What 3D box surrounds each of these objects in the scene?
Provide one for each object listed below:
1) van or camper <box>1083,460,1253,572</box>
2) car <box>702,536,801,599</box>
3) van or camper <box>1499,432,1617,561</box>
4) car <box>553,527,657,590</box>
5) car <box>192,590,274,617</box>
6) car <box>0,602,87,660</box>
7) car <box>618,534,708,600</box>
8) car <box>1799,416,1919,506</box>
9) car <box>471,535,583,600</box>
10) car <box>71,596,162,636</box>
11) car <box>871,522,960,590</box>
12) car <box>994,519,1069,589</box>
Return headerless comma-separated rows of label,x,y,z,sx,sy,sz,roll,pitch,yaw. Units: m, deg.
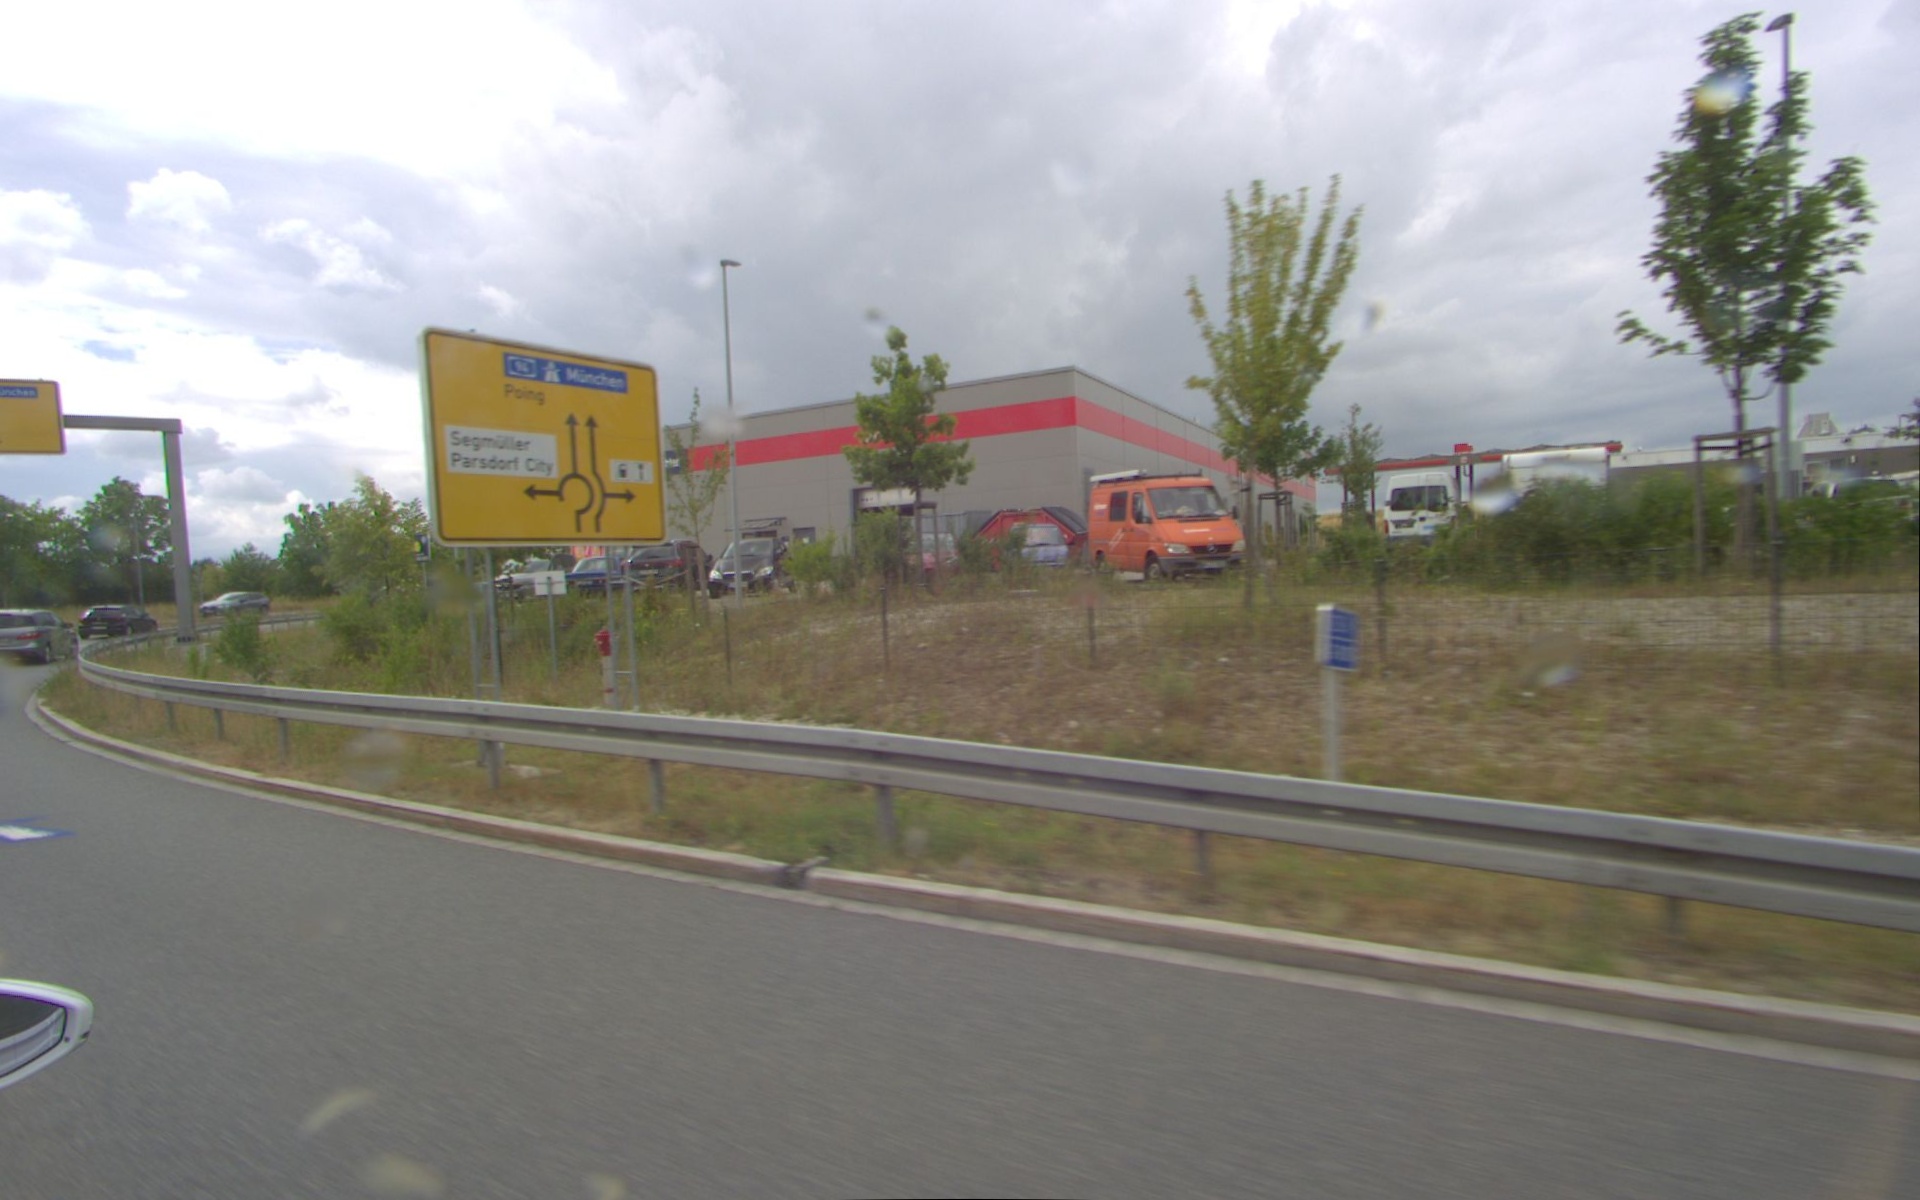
van or camper,4.377,-1.714,21.893,1.780,2.024,4.670,-2,1,-13
car,-5.584,-0.936,27.273,1.659,1.540,3.790,-1,3,3
van or camper,17.569,-2.872,29.791,2.453,3.223,7.703,-1,3,27
car,-10.529,-1.173,29.966,1.699,1.675,3.858,0,0,1
car,-47.723,0.188,65.877,1.780,1.651,4.686,-2,0,2
car,-28.216,0.919,30.386,1.747,1.638,3.902,-2,1,-29
car,-8.249,-0.868,28.120,1.489,1.675,3.734,0,0,-1
car,23.165,-3.499,25.846,1.754,1.743,4.040,-1,0,32
car,-13.184,-0.923,30.772,1.769,1.806,4.169,0,0,-2
car,-37.398,0.678,44.525,1.843,1.626,3.725,-2,1,-20
car,-0.984,-1.014,24.336,1.671,1.419,4.587,-3,1,3
car,1.564,-1.092,22.699,1.471,1.401,3.302,-3,5,1
